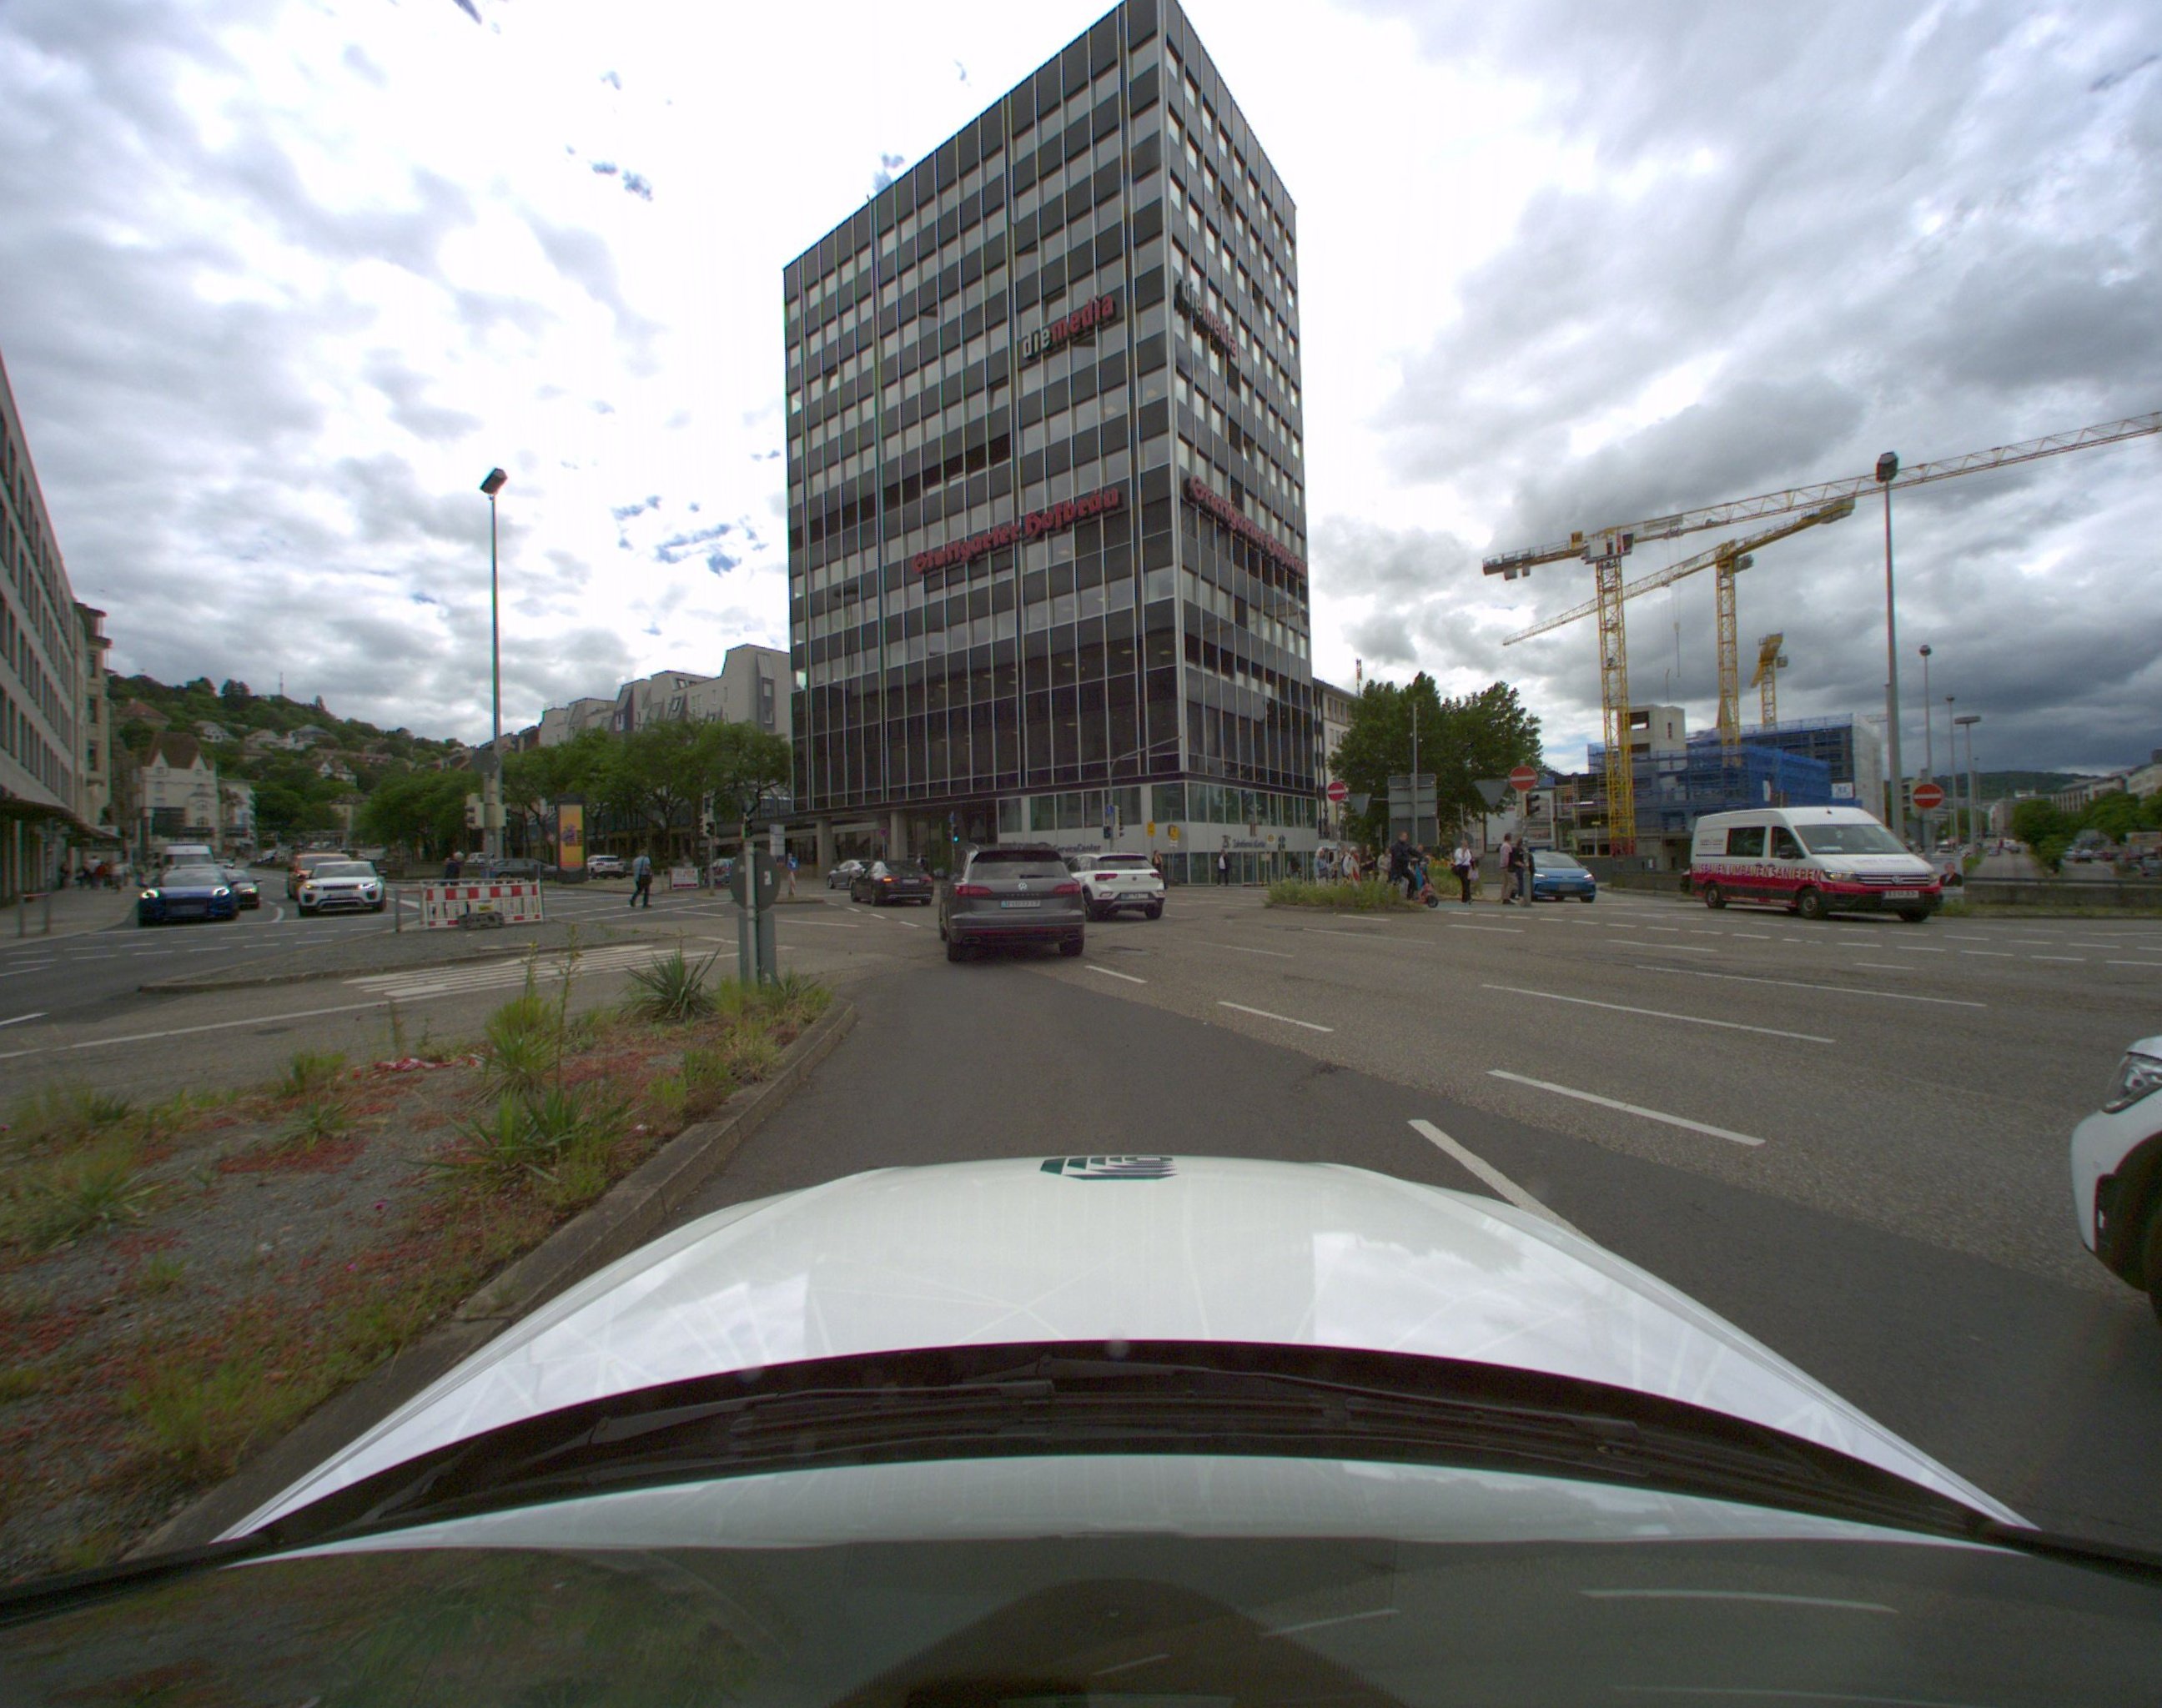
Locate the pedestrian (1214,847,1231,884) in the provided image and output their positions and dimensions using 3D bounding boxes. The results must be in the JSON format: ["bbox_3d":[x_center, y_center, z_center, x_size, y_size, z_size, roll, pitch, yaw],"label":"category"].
[{"bbox_3d":[6.664,0.525,38.455,0.629,1.748,0.594,-1,0,25],"label":"pedestrian"}]

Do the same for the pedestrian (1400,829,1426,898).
[{"bbox_3d":[9.566,0.280,23.499,0.635,1.965,0.613,-1,0,18],"label":"pedestrian"}]

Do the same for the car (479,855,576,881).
[{"bbox_3d":[-32.751,0.786,48.245,4.589,1.458,1.859,-1,0,-40],"label":"car"}]

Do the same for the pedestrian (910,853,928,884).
[{"bbox_3d":[-9.090,0.827,45.778,0.743,1.711,0.530,-3,0,36],"label":"pedestrian"}]

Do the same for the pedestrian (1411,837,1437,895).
[{"bbox_3d":[10.124,0.347,24.056,0.635,1.696,0.613,-1,0,18],"label":"pedestrian"}]

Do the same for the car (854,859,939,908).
[{"bbox_3d":[-6.051,0.891,26.355,1.842,1.395,4.113,1,0,-25],"label":"car"}]

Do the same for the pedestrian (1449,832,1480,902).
[{"bbox_3d":[10.010,0.338,21.287,0.636,1.797,0.613,1,0,18],"label":"pedestrian"}]

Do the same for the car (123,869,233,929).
[{"bbox_3d":[-26.299,1.245,23.823,4.040,1.525,2.012,-1,0,43],"label":"car"}]

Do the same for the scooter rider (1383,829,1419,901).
[{"bbox_3d":[7.635,0.258,19.423,0.737,1.694,0.771,-1,0,26],"label":"scooter rider"}]

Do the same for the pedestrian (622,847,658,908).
[{"bbox_3d":[-13.499,0.700,24.930,0.626,1.790,0.722,1,4,41],"label":"pedestrian"}]

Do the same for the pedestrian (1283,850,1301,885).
[{"bbox_3d":[10.405,0.654,40.135,0.593,1.678,0.630,-1,0,-33],"label":"pedestrian"}]

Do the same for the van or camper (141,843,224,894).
[{"bbox_3d":[-51.422,0.788,46.625,6.166,2.726,3.030,0,0,42],"label":"van or camper"}]

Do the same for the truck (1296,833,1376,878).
[{"bbox_3d":[18.521,0.122,58.775,2.316,3.064,8.250,-1,-1,41],"label":"truck"}]

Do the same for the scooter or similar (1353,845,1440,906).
[{"bbox_3d":[7.544,0.498,19.463,1.864,1.407,0.781,-1,0,26],"label":"scooter or similar"}]

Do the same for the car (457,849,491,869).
[{"bbox_3d":[-59.912,0.534,80.387,4.809,1.874,1.849,-1,1,43],"label":"car"}]

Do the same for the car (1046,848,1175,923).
[{"bbox_3d":[0.580,0.675,19.545,1.803,1.545,3.910,-2,0,-19],"label":"car"}]

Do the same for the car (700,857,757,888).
[{"bbox_3d":[-18.495,0.936,42.698,1.847,1.517,3.724,-2,1,-38],"label":"car"}]

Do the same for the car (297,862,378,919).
[{"bbox_3d":[-23.547,1.086,25.904,1.749,1.598,4.267,-1,0,-41],"label":"car"}]

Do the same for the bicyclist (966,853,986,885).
[{"bbox_3d":[-5.317,0.760,41.254,0.838,1.549,0.567,-2,0,13],"label":"bicyclist"}]

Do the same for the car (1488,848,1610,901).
[{"bbox_3d":[14.680,0.579,25.871,1.930,1.482,4.641,-1,0,10],"label":"car"}]

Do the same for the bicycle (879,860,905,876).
[{"bbox_3d":[-12.308,0.893,52.965,1.469,1.048,0.718,0,0,21],"label":"bicycle"}]

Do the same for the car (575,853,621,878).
[{"bbox_3d":[-33.466,0.787,56.414,1.849,1.566,3.720,-2,1,-45],"label":"car"}]

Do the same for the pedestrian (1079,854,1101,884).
[{"bbox_3d":[0.428,0.742,39.999,0.828,1.442,0.610,-1,1,37],"label":"pedestrian"}]

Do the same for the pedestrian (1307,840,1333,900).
[{"bbox_3d":[7.508,0.497,25.560,0.694,1.862,0.673,-1,0,20],"label":"pedestrian"}]

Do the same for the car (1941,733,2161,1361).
[{"bbox_3d":[3.632,0.514,0.486,1.794,1.646,4.337,-1,1,3],"label":"car"}]

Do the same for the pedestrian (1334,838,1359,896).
[{"bbox_3d":[8.377,0.402,25.672,0.694,1.815,0.673,-1,0,20],"label":"pedestrian"}]

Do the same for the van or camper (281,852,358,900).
[{"bbox_3d":[-33.363,0.917,35.620,5.019,1.921,1.931,-1,1,41],"label":"van or camper"}]

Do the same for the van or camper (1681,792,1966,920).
[{"bbox_3d":[16.779,0.029,19.021,2.126,2.477,6.182,0,0,12],"label":"van or camper"}]

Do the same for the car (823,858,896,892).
[{"bbox_3d":[-10.555,0.969,38.638,1.848,1.432,4.100,1,1,-39],"label":"car"}]

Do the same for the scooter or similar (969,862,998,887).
[{"bbox_3d":[-4.804,1.018,40.005,1.315,1.176,0.593,-2,0,0],"label":"scooter or similar"}]

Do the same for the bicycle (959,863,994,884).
[{"bbox_3d":[-5.287,0.995,41.250,1.653,1.027,0.583,-2,0,13],"label":"bicycle"}]

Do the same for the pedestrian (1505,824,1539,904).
[{"bbox_3d":[10.895,0.247,20.138,0.635,1.955,0.614,-1,0,21],"label":"pedestrian"}]

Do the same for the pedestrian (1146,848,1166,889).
[{"bbox_3d":[3.141,0.592,34.158,0.547,1.697,0.797,-1,0,-16],"label":"pedestrian"}]

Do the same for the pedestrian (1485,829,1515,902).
[{"bbox_3d":[11.259,0.308,21.898,0.635,1.910,0.613,-1,0,18],"label":"pedestrian"}]

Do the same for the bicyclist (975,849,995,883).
[{"bbox_3d":[-5.197,0.646,44.205,0.803,1.846,0.679,-1,0,37],"label":"bicyclist"}]

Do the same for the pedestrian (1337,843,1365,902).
[{"bbox_3d":[8.232,0.552,24.841,0.755,1.761,0.673,-1,0,20],"label":"pedestrian"}]

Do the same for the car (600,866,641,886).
[{"bbox_3d":[-34.924,1.660,61.753,1.849,1.363,3.721,-2,1,-44],"label":"car"}]

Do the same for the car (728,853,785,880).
[{"bbox_3d":[-19.574,0.744,49.043,1.849,1.517,3.720,-2,1,-45],"label":"car"}]

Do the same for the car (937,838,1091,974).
[{"bbox_3d":[-1.164,0.628,12.675,1.969,1.695,4.212,-1,1,-9],"label":"car"}]

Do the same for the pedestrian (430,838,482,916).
[{"bbox_3d":[-17.695,0.640,23.061,0.753,2.172,0.884,-1,0,24],"label":"pedestrian"}]

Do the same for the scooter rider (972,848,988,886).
[{"bbox_3d":[-4.943,0.621,40.001,0.639,1.808,0.593,-2,0,0],"label":"scooter rider"}]

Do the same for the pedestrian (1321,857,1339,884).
[{"bbox_3d":[15.867,1.046,51.839,0.863,1.746,0.853,-1,0,33],"label":"pedestrian"}]

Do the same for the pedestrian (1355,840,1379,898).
[{"bbox_3d":[8.422,0.439,23.984,0.635,1.696,0.613,-1,-1,18],"label":"pedestrian"}]
